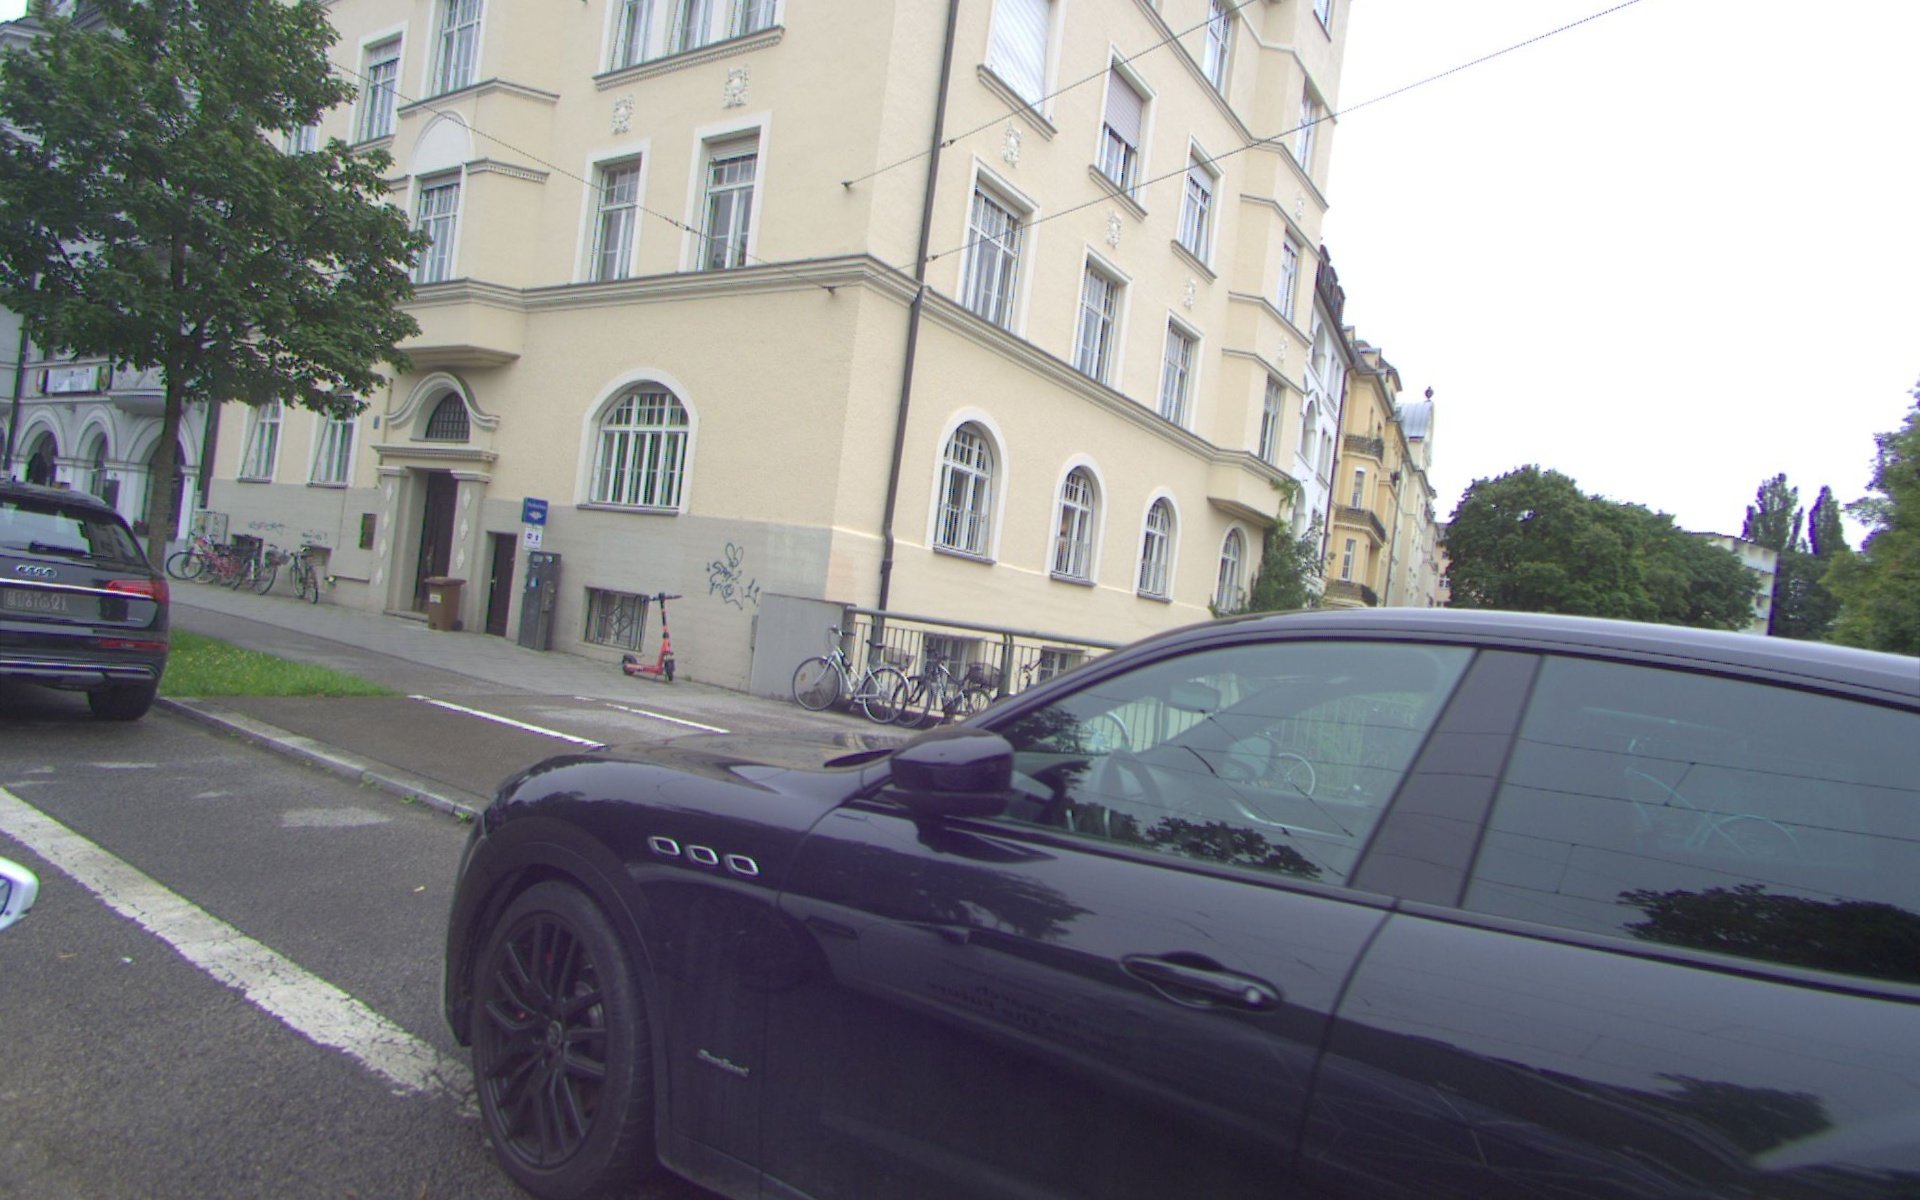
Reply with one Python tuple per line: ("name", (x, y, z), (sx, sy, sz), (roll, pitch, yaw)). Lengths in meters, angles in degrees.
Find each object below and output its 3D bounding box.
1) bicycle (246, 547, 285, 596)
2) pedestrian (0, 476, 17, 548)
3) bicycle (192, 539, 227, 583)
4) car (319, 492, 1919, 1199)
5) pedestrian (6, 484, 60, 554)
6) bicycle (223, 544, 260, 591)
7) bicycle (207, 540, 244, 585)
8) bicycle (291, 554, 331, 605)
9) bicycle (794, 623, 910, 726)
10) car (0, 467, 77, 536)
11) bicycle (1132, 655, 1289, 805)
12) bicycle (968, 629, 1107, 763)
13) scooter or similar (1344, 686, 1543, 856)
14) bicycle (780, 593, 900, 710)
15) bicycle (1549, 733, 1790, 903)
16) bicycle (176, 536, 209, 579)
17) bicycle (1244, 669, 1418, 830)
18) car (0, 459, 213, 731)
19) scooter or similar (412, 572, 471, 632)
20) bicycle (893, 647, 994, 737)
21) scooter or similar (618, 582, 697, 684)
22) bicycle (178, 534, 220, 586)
("bicycle", (-14.810, -0.607, 21.452), (0.871, 0.941, 0.285), (7, -2, 34))
("pedestrian", (-25.571, -2.361, 26.492), (0.855, 1.837, 0.706), (7, -2, 33))
("bicycle", (-17.407, -0.906, 23.330), (0.871, 0.941, 0.291), (7, -2, 34))
("car", (0.698, 0.848, 2.401), (4.589, 1.628, 1.904), (7, -2, 33))
("pedestrian", (-25.122, -2.199, 27.261), (0.829, 1.752, 0.706), (7, -2, 33))
("bicycle", (-15.875, -0.723, 22.217), (0.871, 0.941, 0.273), (7, -2, 34))
("bicycle", (-16.632, -0.853, 22.788), (0.872, 0.941, 0.306), (6, -2, 35))
("bicycle", (-13.200, -0.429, 20.464), (0.871, 0.941, 0.222), (7, -2, 32))
("bicycle", (-1.395, 0.944, 12.876), (1.417, 1.119, 0.287), (7, 0, 26))
("car", (-43.700, -4.688, 45.284), (2.193, 2.641, 5.310), (7, -3, 30))
("bicycle", (2.544, 1.297, 10.236), (1.384, 1.296, 0.283), (7, -1, 21))
("bicycle", (0.869, 1.067, 11.362), (1.384, 1.296, 0.283), (7, -1, 21))
("scooter or similar", (4.320, 1.517, 9.041), (1.467, 1.277, 0.245), (7, -1, 10))
("bicycle", (-1.578, 0.653, 13.121), (1.511, 1.327, 0.332), (7, -2, 32))
("bicycle", (5.798, 1.763, 8.281), (1.513, 1.094, 0.265), (7, -1, 18))
("bicycle", (-18.175, -1.006, 23.830), (0.871, 0.941, 0.259), (7, -2, 34))
("bicycle", (3.504, 1.398, 9.564), (1.383, 1.296, 0.283), (7, -1, 13))
("car", (-7.687, -0.209, 7.569), (4.415, 1.677, 1.777), (6, -2, 33))
("scooter or similar", (-9.246, 0.034, 17.952), (0.538, 0.957, 0.662), (7, -2, 34))
("bicycle", (-0.203, 1.116, 12.283), (1.122, 0.948, 0.249), (6, 3, 11))
("scooter or similar", (-4.358, 0.457, 14.449), (1.124, 1.327, 0.261), (7, -2, 33))
("bicycle", (-17.148, -0.903, 22.656), (1.203, 1.051, 0.242), (7, -2, 33))
